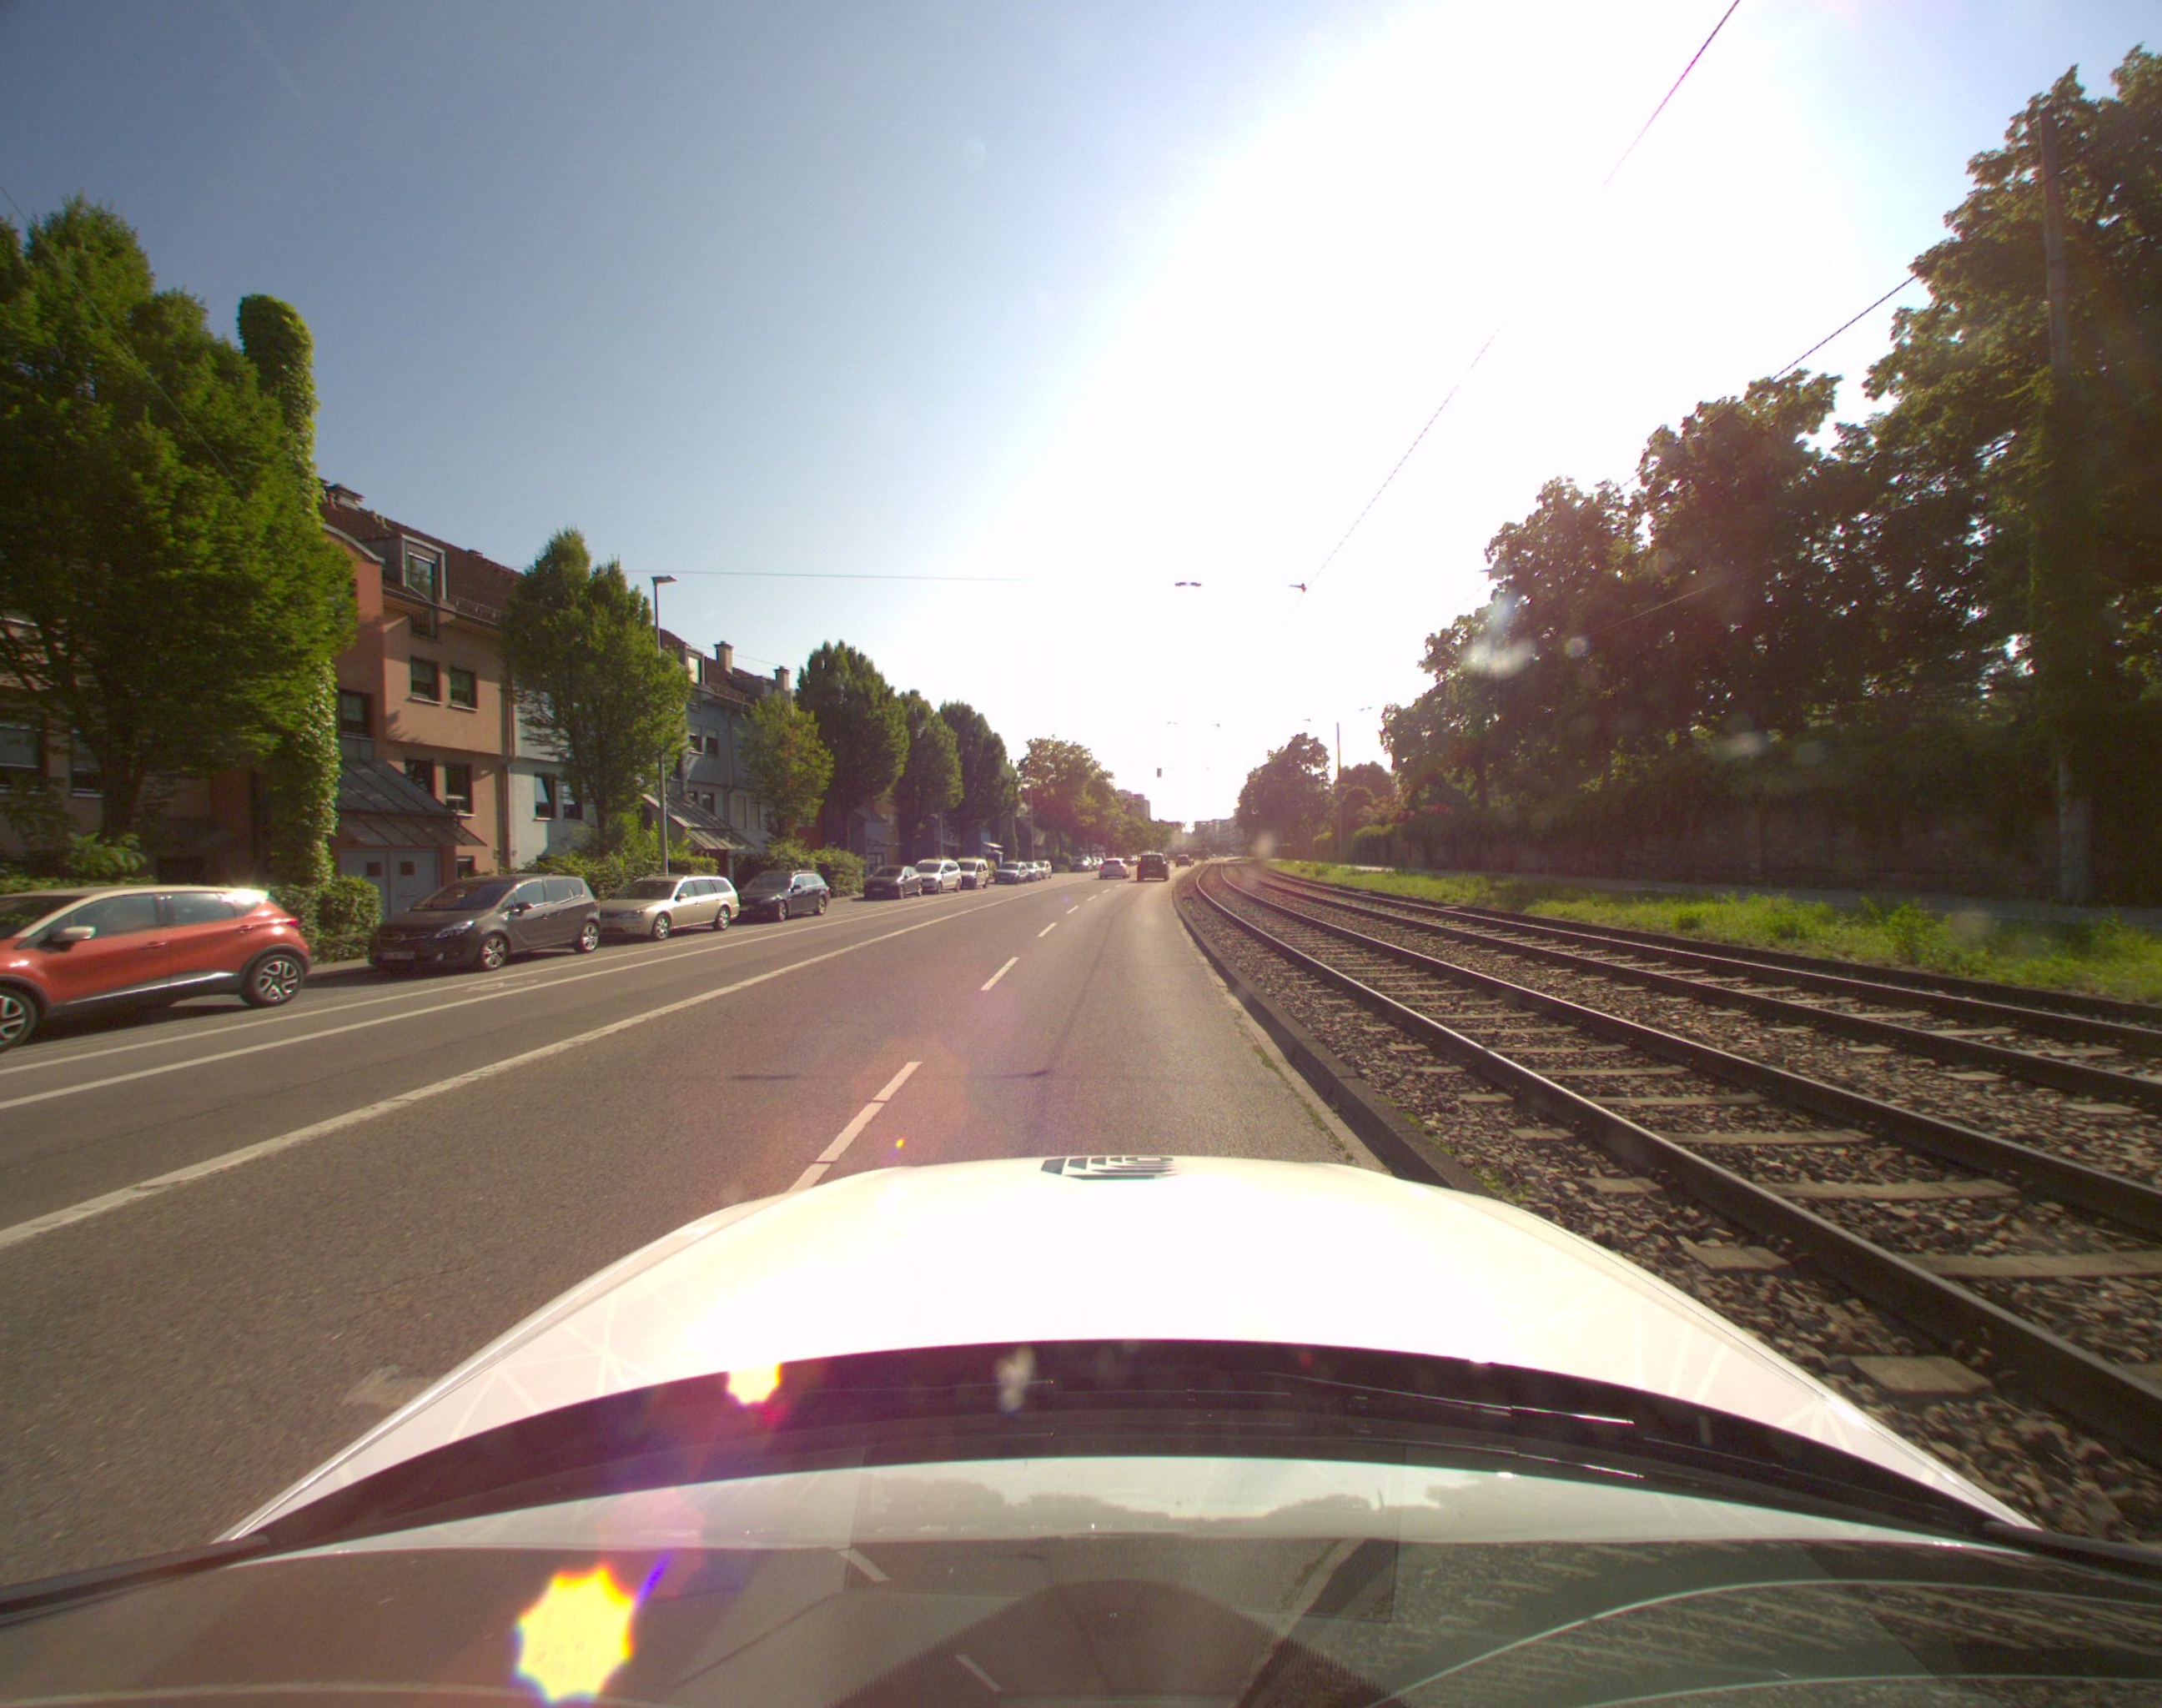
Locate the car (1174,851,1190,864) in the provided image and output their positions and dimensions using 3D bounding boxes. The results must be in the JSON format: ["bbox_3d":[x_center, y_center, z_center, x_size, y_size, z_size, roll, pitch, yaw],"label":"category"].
[{"bbox_3d":[12.190,0.394,97.940,1.800,1.449,4.010,0,0,9],"label":"car"}]

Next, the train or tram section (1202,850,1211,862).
[{"bbox_3d":[39.327,0.527,254.933,2.312,3.570,8.924,-2,0,10],"label":"train or tram section"}]

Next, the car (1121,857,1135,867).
[{"bbox_3d":[8.017,1.342,138.396,1.720,1.658,4.012,-2,0,11],"label":"car"}]

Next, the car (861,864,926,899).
[{"bbox_3d":[-8.546,1.221,37.440,1.607,1.466,4.066,0,0,7],"label":"car"}]

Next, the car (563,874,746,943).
[{"bbox_3d":[-10.340,1.252,20.245,1.705,1.471,4.849,0,-1,4],"label":"car"}]

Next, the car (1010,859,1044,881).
[{"bbox_3d":[-4.188,1.226,63.922,1.739,1.510,4.765,2,0,7],"label":"car"}]

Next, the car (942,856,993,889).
[{"bbox_3d":[-6.775,1.062,48.930,1.753,1.845,4.590,3,0,8],"label":"car"}]

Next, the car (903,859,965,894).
[{"bbox_3d":[-7.609,1.120,42.632,1.658,1.701,4.836,0,0,9],"label":"car"}]

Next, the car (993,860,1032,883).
[{"bbox_3d":[-4.900,1.252,58.819,1.752,1.539,3.992,3,0,10],"label":"car"}]

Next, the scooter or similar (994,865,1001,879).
[{"bbox_3d":[-6.772,1.444,66.136,0.292,1.153,1.044,-2,-1,5],"label":"scooter or similar"}]

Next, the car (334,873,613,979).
[{"bbox_3d":[-10.654,1.167,14.784,1.756,1.574,4.299,0,-1,1],"label":"car"}]

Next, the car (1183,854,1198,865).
[{"bbox_3d":[15.113,0.785,112.383,1.800,1.449,4.011,0,0,10],"label":"car"}]

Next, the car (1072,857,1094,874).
[{"bbox_3d":[0.246,1.242,90.250,1.701,1.694,4.434,-2,0,10],"label":"car"}]

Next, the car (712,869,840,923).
[{"bbox_3d":[-9.587,1.257,26.094,1.700,1.472,4.919,0,0,7],"label":"car"}]

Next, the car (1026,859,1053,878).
[{"bbox_3d":[-3.488,1.217,69.189,1.592,1.494,3.518,2,0,9],"label":"car"}]

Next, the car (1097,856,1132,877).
[{"bbox_3d":[2.325,0.840,55.159,1.853,1.348,4.011,-1,0,10],"label":"car"}]

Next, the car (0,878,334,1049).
[{"bbox_3d":[-11.122,1.110,8.993,1.755,1.574,4.164,-2,-1,3],"label":"car"}]

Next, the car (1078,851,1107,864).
[{"bbox_3d":[2.252,0.756,162.737,5.343,2.423,2.093,-2,-1,9],"label":"car"}]

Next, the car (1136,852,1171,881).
[{"bbox_3d":[4.390,0.737,48.791,1.801,1.645,4.009,-1,-1,8],"label":"car"}]
